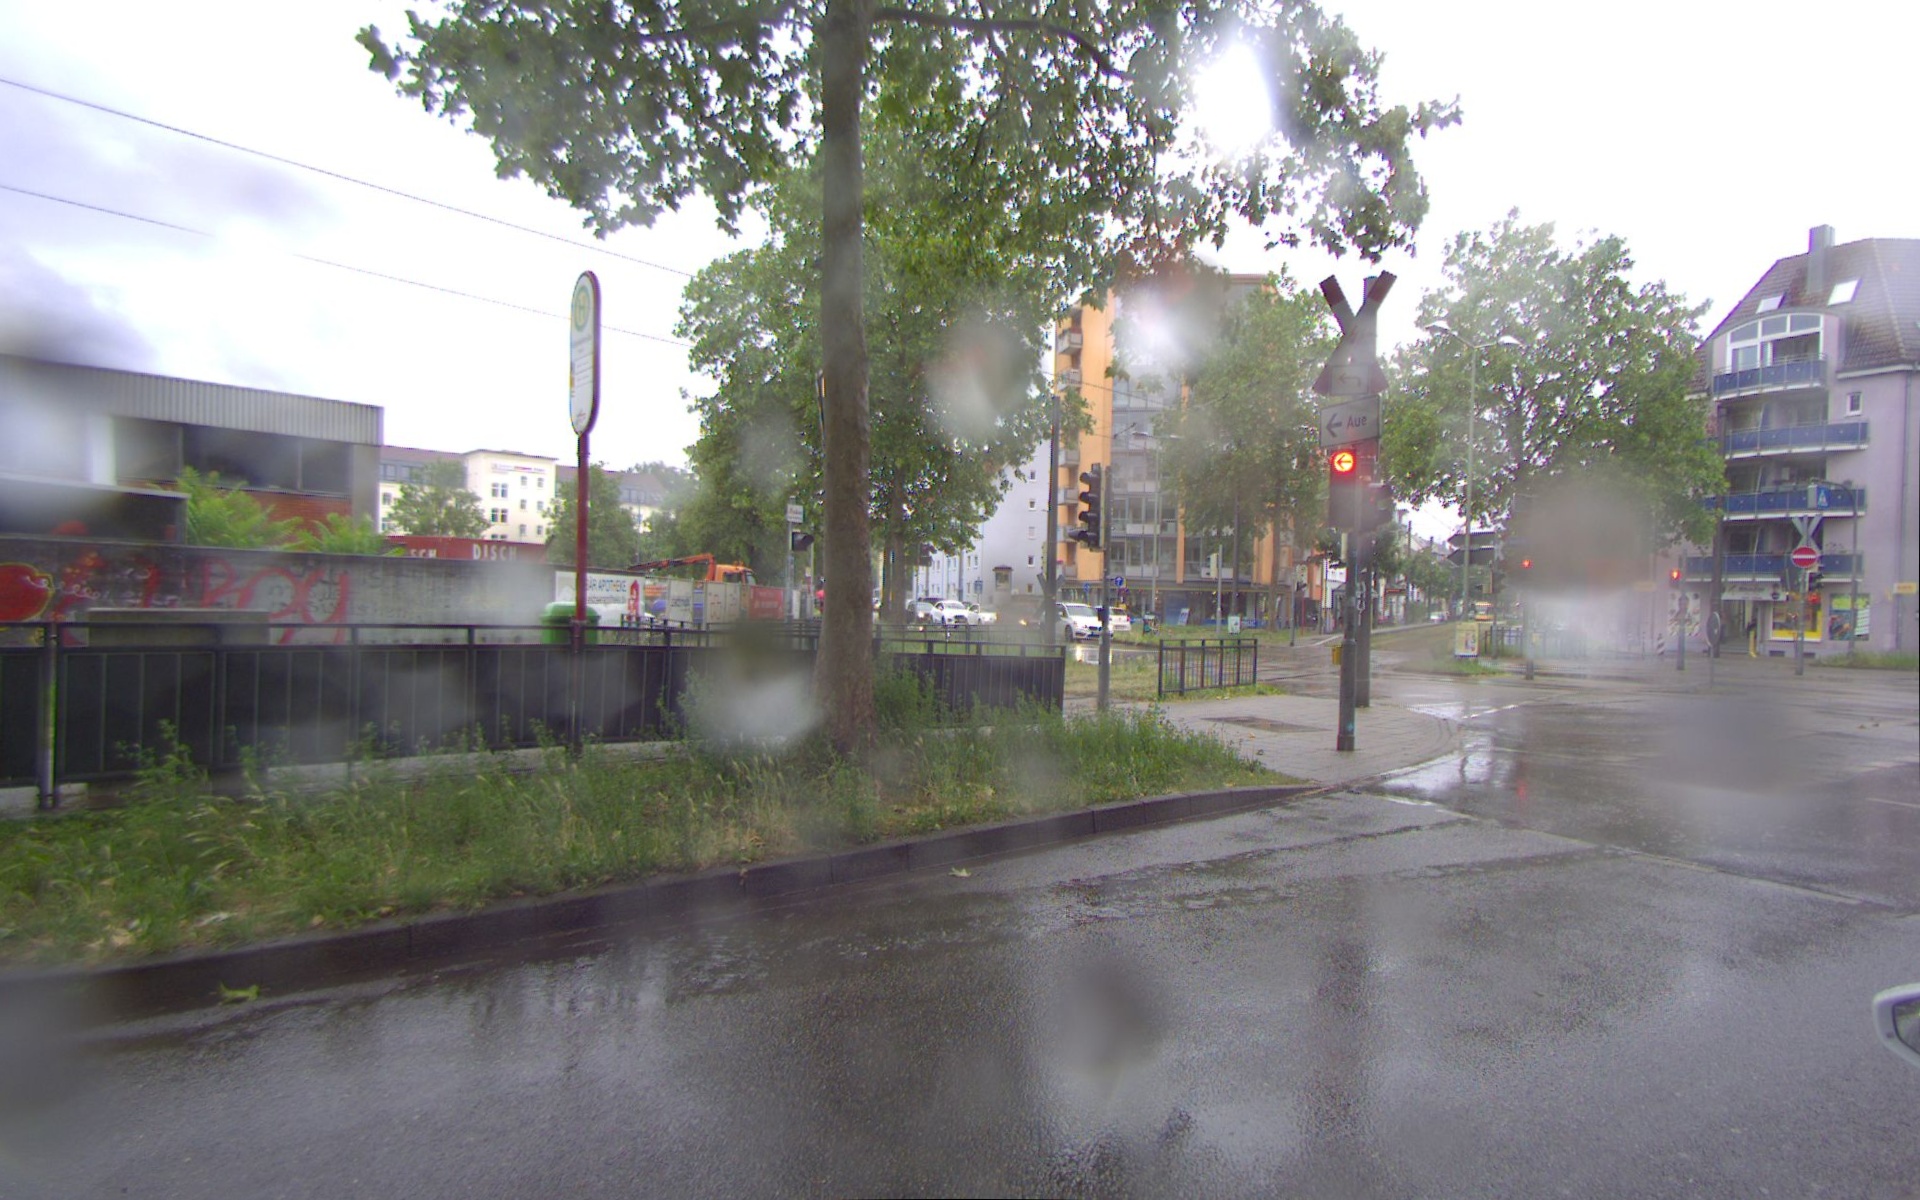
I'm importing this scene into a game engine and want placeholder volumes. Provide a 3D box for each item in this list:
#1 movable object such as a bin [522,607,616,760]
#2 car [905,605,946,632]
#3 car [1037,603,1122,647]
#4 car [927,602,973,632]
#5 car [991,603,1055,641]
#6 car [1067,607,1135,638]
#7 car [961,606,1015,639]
[{"bbox_3d":[-2.937,0.607,7.551,0.412,1.104,0.528,0,-1,44],"label":"movable object such as a bin"},{"bbox_3d":[-2.222,1.184,64.483,1.697,1.661,3.780,1,-1,-17],"label":"car"},{"bbox_3d":[4.741,0.990,40.338,1.941,1.673,4.004,1,-1,-17],"label":"car"},{"bbox_3d":[-0.627,0.990,58.376,1.697,1.661,3.780,1,-1,-17],"label":"car"},{"bbox_3d":[2.847,1.002,46.236,1.697,1.661,3.780,1,-1,-17],"label":"car"},{"bbox_3d":[6.953,1.112,49.769,1.700,1.505,3.633,1,-1,-23],"label":"car"},{"bbox_3d":[1.408,1.158,52.514,1.697,1.661,3.780,1,-1,-17],"label":"car"}]
